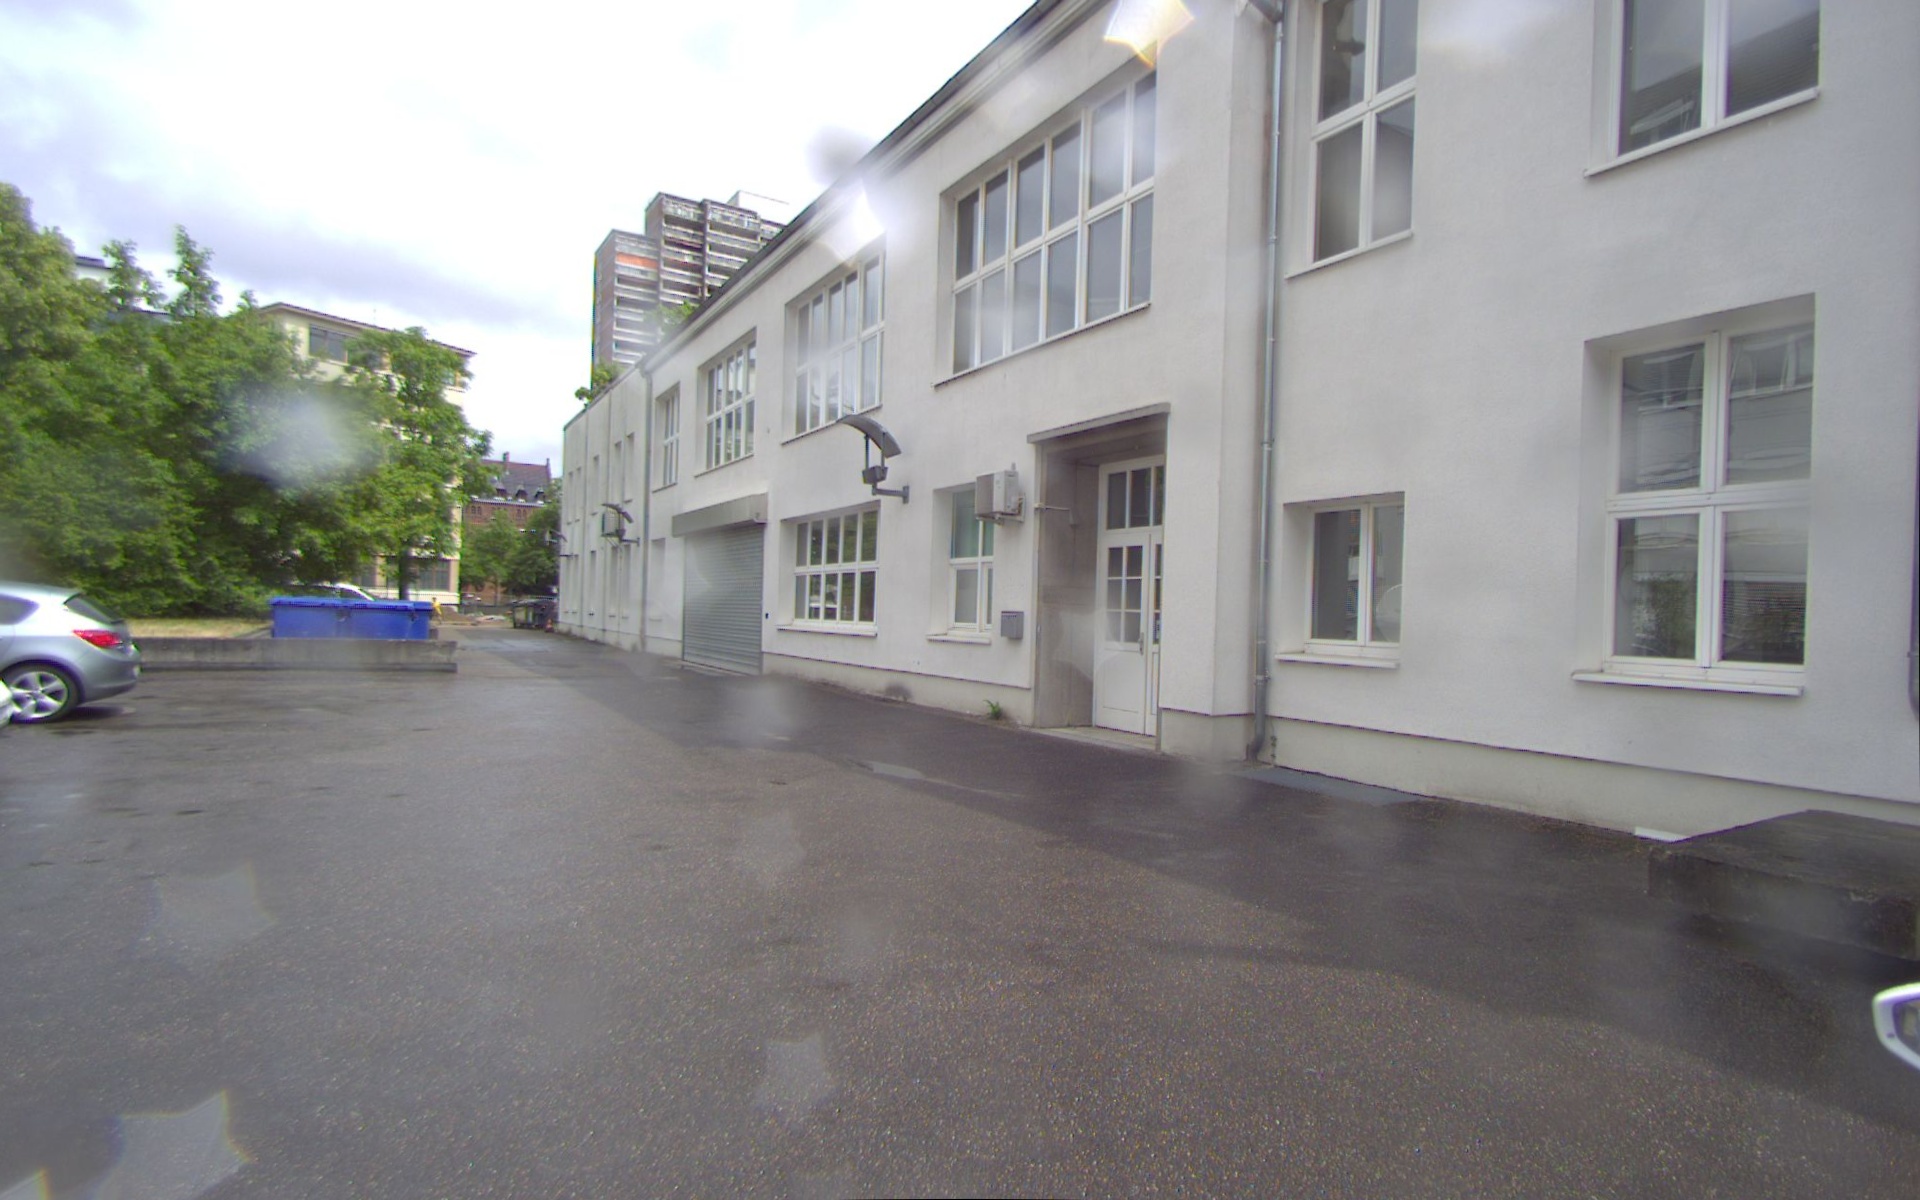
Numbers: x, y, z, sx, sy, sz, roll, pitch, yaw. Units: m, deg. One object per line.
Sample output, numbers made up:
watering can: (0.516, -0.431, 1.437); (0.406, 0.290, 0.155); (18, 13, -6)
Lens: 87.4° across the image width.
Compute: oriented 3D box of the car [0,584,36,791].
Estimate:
car: (-8.572, 0.527, 6.121); (4.087, 1.461, 1.679); (3, -1, -36)

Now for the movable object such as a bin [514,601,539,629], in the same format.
movable object such as a bin: (-22.098, 0.746, 51.227); (1.053, 1.374, 1.255); (1, 0, -27)

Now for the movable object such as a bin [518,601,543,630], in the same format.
movable object such as a bin: (-21.320, 0.771, 49.865); (1.050, 1.374, 1.210); (1, 0, -27)

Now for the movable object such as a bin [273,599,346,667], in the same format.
movable object such as a bin: (-13.368, 0.665, 20.689); (1.117, 1.346, 1.199); (1, 0, -28)

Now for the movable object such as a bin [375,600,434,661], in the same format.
movable object such as a bin: (-12.756, 0.697, 23.101); (1.117, 1.346, 1.199); (1, 0, -28)

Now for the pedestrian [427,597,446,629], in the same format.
pedestrian: (-30.666, 0.772, 58.807); (0.852, 1.838, 0.855); (1, 0, -36)

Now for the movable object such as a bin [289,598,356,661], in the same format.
movable object such as a bin: (-14.068, 0.642, 22.204); (1.117, 1.346, 1.199); (1, 0, -28)

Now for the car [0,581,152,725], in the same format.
car: (-11.238, 0.494, 10.455); (4.277, 1.461, 1.744); (4, -1, -38)

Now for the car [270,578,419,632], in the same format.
car: (-21.616, 0.191, 35.485); (4.278, 1.750, 1.711); (2, 0, -26)

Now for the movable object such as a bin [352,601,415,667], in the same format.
movable object such as a bin: (-12.229, 0.705, 21.362); (1.082, 1.343, 1.199); (1, 0, -28)

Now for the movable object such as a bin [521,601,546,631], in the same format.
movable object such as a bin: (-20.667, 0.779, 48.642); (1.033, 1.374, 1.199); (1, 0, -27)

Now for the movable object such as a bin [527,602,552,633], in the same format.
movable object such as a bin: (-19.783, 0.819, 47.242); (0.966, 1.374, 0.913); (1, 0, -28)

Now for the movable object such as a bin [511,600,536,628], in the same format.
movable object such as a bin: (-22.778, 0.725, 52.408); (1.053, 1.374, 1.255); (1, 0, -27)
